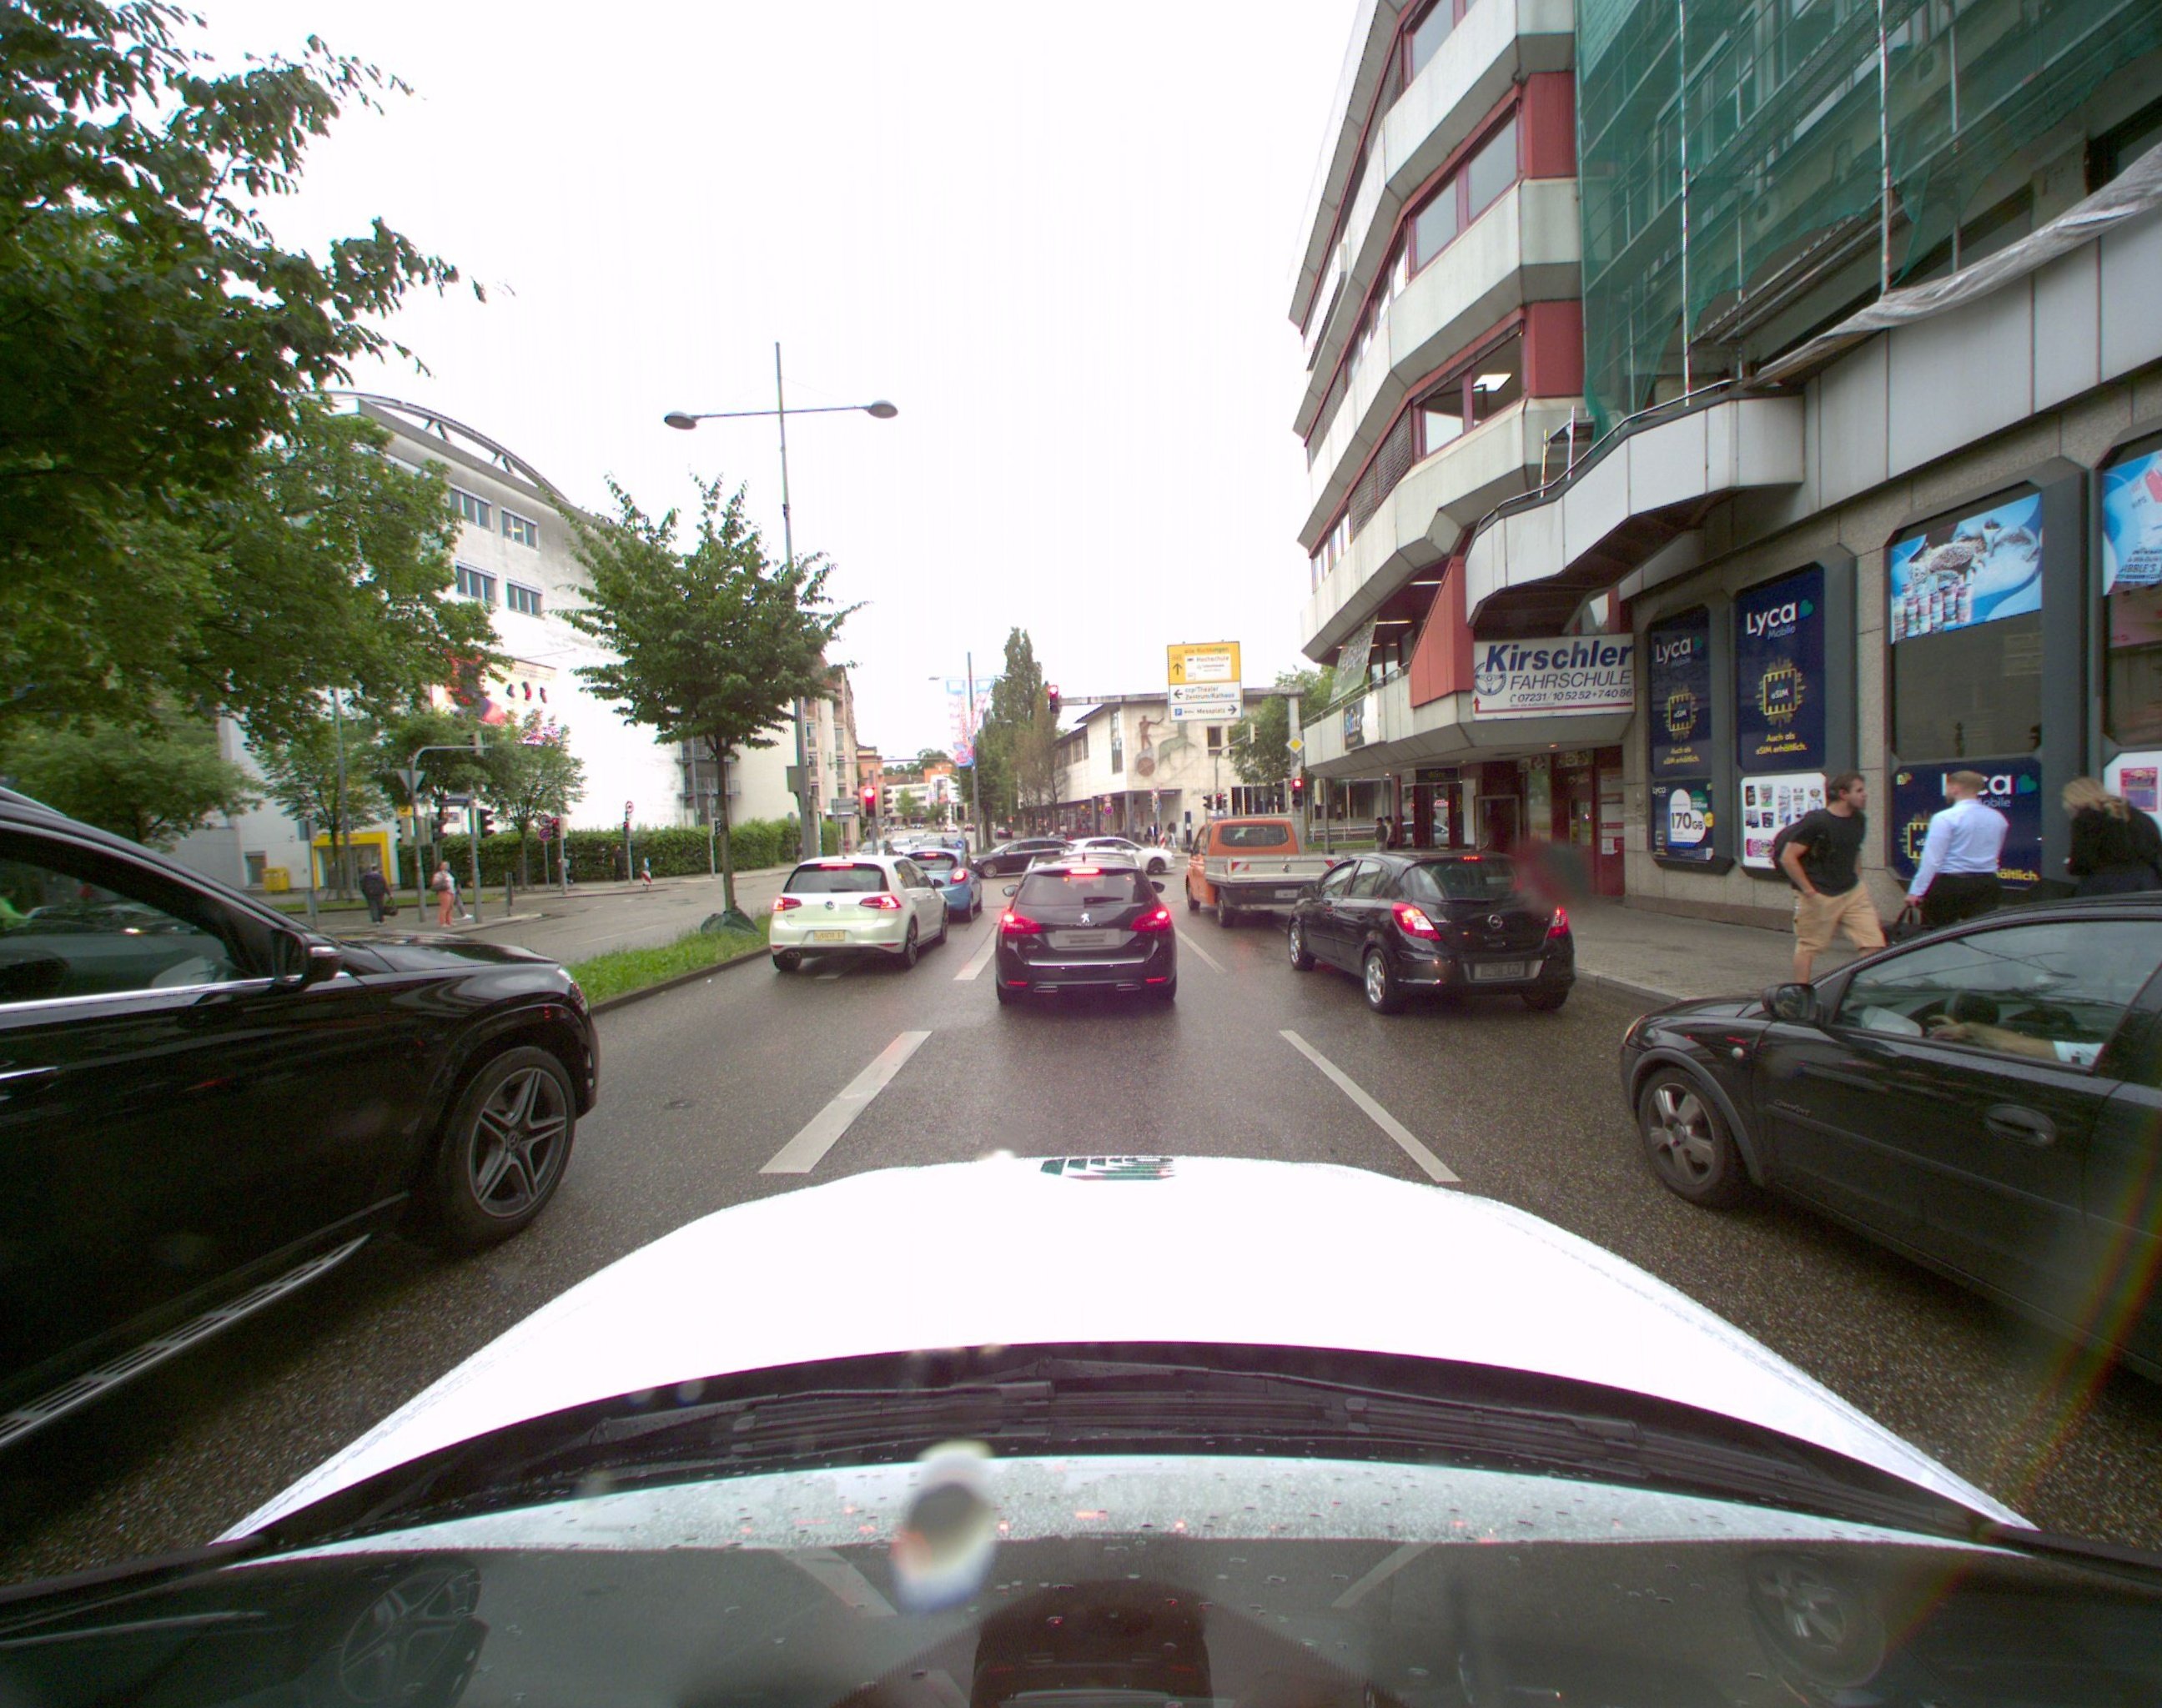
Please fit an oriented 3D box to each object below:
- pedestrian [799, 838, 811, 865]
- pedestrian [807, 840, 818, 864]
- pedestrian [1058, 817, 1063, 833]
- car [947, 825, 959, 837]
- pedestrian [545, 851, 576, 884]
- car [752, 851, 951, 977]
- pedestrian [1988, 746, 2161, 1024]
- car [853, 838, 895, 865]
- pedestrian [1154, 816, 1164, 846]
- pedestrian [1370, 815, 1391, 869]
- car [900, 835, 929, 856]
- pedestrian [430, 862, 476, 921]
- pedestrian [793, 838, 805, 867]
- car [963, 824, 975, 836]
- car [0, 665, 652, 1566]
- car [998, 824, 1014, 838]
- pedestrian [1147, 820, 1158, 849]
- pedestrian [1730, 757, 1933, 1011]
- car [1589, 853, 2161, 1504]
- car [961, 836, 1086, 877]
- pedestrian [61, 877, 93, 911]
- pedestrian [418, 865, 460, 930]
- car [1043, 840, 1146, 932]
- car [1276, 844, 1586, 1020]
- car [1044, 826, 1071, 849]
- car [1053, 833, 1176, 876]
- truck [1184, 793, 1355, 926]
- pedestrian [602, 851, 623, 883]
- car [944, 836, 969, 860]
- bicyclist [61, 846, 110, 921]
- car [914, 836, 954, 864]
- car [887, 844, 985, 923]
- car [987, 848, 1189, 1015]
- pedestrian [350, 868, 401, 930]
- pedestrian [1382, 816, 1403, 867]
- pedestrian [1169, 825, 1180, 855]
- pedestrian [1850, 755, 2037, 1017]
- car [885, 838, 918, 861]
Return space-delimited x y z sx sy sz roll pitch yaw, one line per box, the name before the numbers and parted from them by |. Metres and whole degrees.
pedestrian | -17.684 -0.170 52.195 0.538 1.748 0.564 -1 -1 -3
pedestrian | -18.575 -0.140 56.364 0.579 1.599 0.526 -1 -1 -5
pedestrian | -2.217 -3.102 87.635 0.469 1.748 0.537 0 -1 -19
car | -23.072 -4.177 146.845 1.709 1.882 3.979 0 -1 -15
pedestrian | -25.409 0.661 39.779 1.059 1.578 0.683 -1 -1 -3
car | -3.038 0.706 11.629 1.772 1.429 3.841 -1 1 -1
pedestrian | 7.661 0.213 6.129 0.733 1.934 0.640 -5 -1 1
car | -12.017 -0.191 47.511 1.569 1.486 3.608 -1 1 -1
pedestrian | 5.028 -1.457 52.481 0.633 1.897 0.735 -1 -1 8
pedestrian | 9.625 -0.378 26.169 0.424 1.682 0.450 -3 -1 0
car | -12.526 -0.673 61.355 1.630 1.486 3.604 -1 1 -4
pedestrian | -18.410 1.091 23.893 0.750 1.661 0.628 -2 2 1
pedestrian | -17.524 -0.095 50.681 0.538 1.748 0.745 -1 -1 -7
car | -20.411 -4.281 147.959 1.709 1.936 3.979 0 -1 -15
car | -3.204 0.551 1.663 1.905 1.870 5.073 -1 -1 1
car | -9.334 -2.873 101.204 1.724 1.490 4.718 -1 -1 -9
pedestrian | 4.481 -1.216 51.109 0.633 1.758 0.735 -1 -1 8
pedestrian | 5.828 0.229 6.388 0.736 1.816 0.776 -6 -1 13
car | 3.270 0.745 2.269 1.600 1.429 3.626 -1 1 3
car | -2.290 0.056 32.365 4.736 1.486 1.628 -1 1 -19
pedestrian | -48.591 1.938 39.430 0.633 1.643 0.735 -1 -1 8
pedestrian | -17.062 1.144 21.659 0.555 1.661 0.580 -2 2 2
car | 0.288 0.504 15.403 1.690 1.486 3.795 -1 1 2
car | 3.376 0.621 8.690 1.611 1.429 3.840 -1 1 -1
car | -1.768 -1.246 60.466 1.783 1.454 4.502 -4 3 -3
car | 1.226 -0.001 30.215 4.296 1.486 1.631 -1 1 -13
truck | 3.429 0.035 15.912 2.170 2.172 5.020 -1 1 0
pedestrian | -23.900 0.671 41.571 0.730 1.643 0.638 -1 -1 -6
car | -9.190 -0.440 60.314 1.743 1.640 3.988 0 -1 -9
bicyclist | -20.986 0.616 17.170 0.625 1.530 0.613 -4 -1 38
car | -8.673 -0.211 48.290 1.739 1.579 3.997 -1 -1 -1
car | -3.030 0.553 17.652 1.629 1.486 3.606 -1 1 -3
car | 0.077 0.668 9.124 1.772 1.429 3.842 -1 1 0
pedestrian | -20.669 1.303 23.869 0.917 1.784 0.712 -1 -1 13
pedestrian | 10.154 -0.408 26.557 0.395 1.640 0.504 -3 -1 2
pedestrian | 6.027 -0.914 52.336 0.633 1.897 0.735 -1 -1 8
pedestrian | 6.719 0.240 6.382 0.733 1.935 0.640 -1 -1 1
car | -12.003 -0.333 54.543 1.630 1.486 3.604 -1 1 -4
